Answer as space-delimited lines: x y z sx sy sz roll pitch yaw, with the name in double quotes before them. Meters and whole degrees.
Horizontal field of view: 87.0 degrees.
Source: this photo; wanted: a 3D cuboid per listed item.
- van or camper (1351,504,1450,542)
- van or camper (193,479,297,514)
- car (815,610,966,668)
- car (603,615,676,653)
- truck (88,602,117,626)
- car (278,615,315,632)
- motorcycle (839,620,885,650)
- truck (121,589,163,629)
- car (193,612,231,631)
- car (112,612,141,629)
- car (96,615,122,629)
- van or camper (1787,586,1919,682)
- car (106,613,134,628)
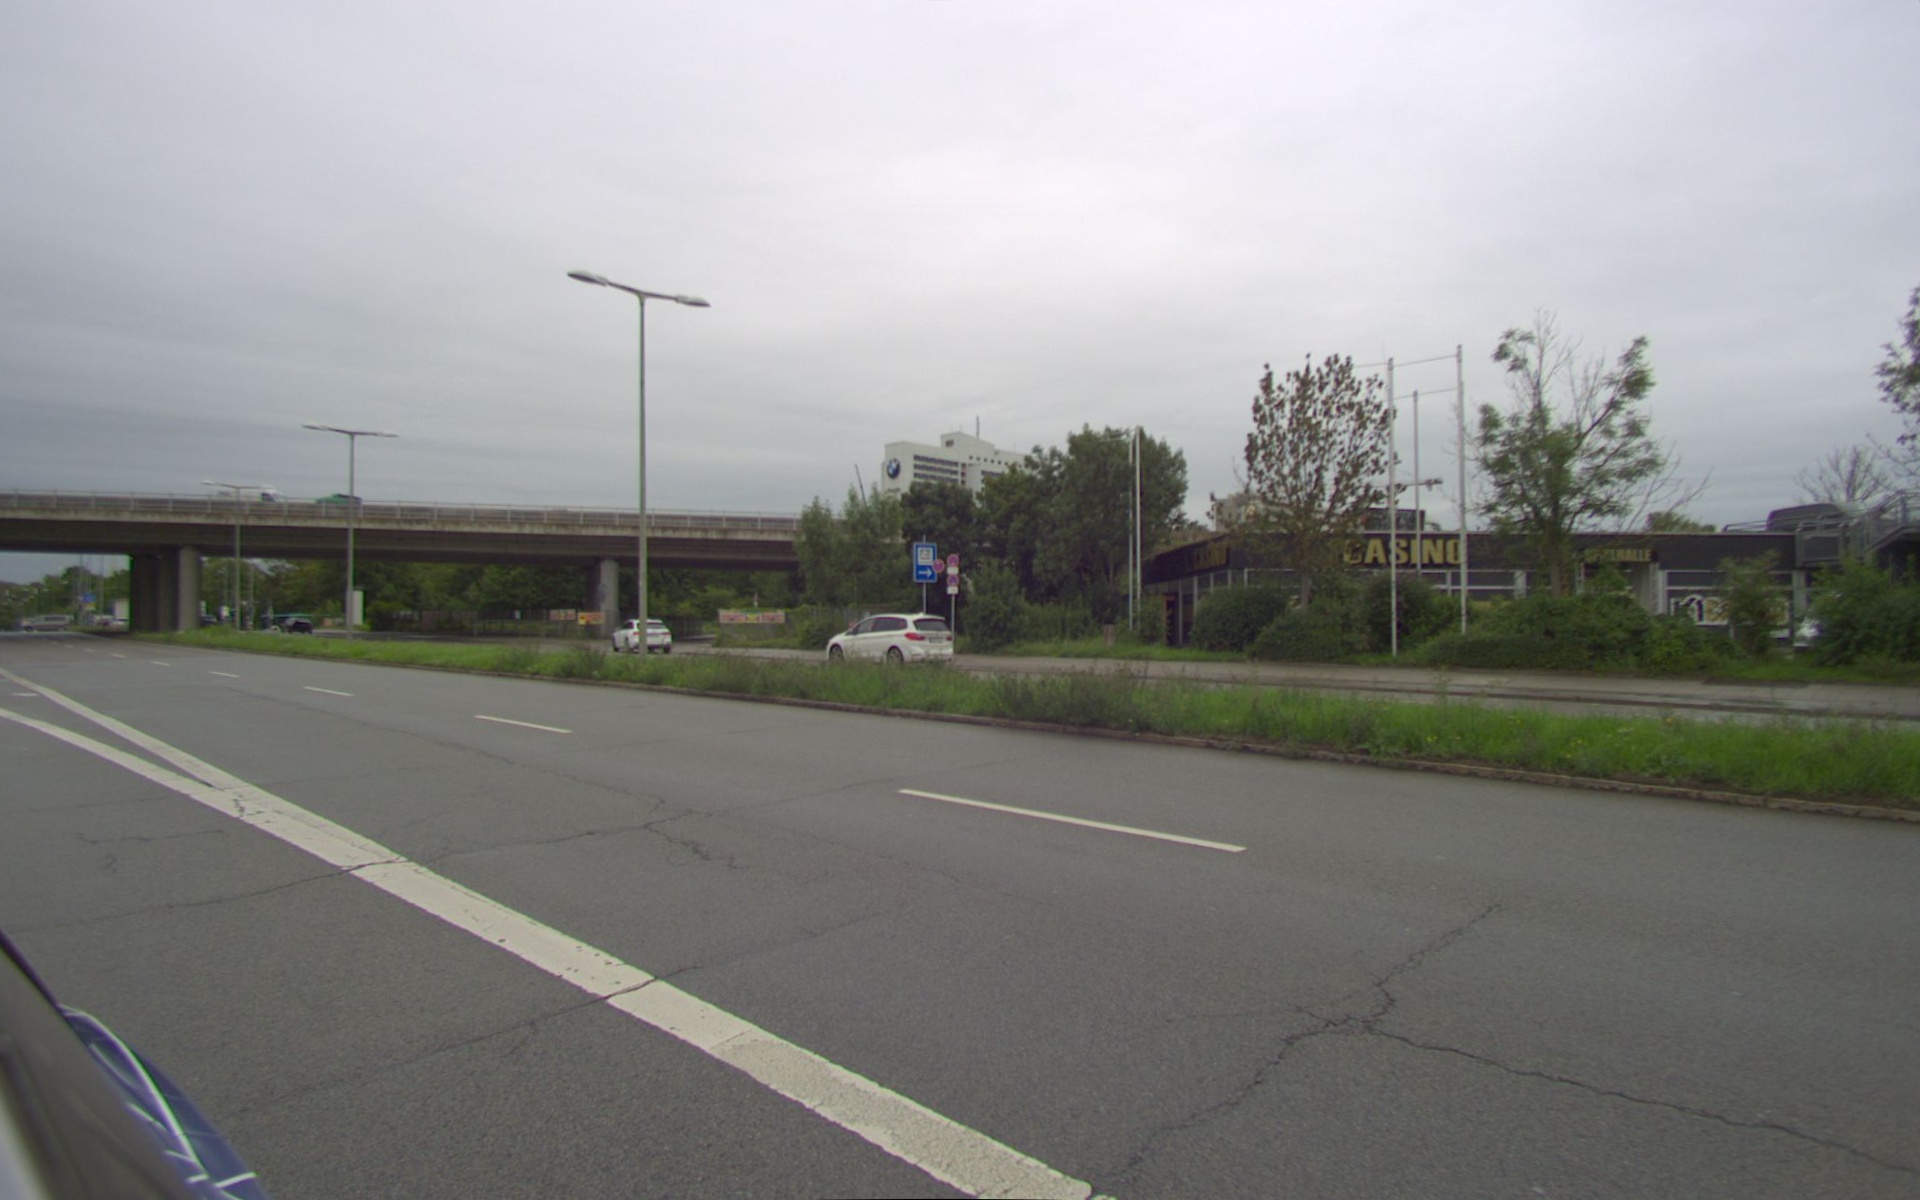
"van or camper" 31.840 -5.582 73.319 5.953 2.262 2.646 2 -1 -3
"van or camper" -49.766 -7.177 70.563 5.422 2.029 2.335 1 -1 -6
"car" -2.139 1.119 30.199 1.970 1.584 4.577 2 -2 -45
"car" -14.422 1.507 45.303 1.966 1.584 5.134 2 -2 -31
"truck" -137.712 2.256 162.510 2.758 3.708 6.647 5 -4 -45
"car" -60.800 2.118 92.754 1.946 1.407 4.821 3 -2 -44
"motorcycle" -3.970 1.407 40.843 2.197 1.185 0.527 -1 -2 45
"truck" -101.560 1.121 125.605 2.758 4.626 9.607 5 -4 -45
"car" -69.426 1.982 93.923 4.591 1.595 1.947 0 -4 43
"car" -89.221 2.193 108.344 1.946 1.595 4.594 5 -4 -44
"car" -101.991 2.650 121.209 4.593 1.595 1.947 -1 1 45
"van or camper" 21.034 0.745 23.547 3.936 2.029 2.004 1 -1 -39
"car" -96.259 2.382 115.986 1.946 1.595 4.594 5 -4 -45
